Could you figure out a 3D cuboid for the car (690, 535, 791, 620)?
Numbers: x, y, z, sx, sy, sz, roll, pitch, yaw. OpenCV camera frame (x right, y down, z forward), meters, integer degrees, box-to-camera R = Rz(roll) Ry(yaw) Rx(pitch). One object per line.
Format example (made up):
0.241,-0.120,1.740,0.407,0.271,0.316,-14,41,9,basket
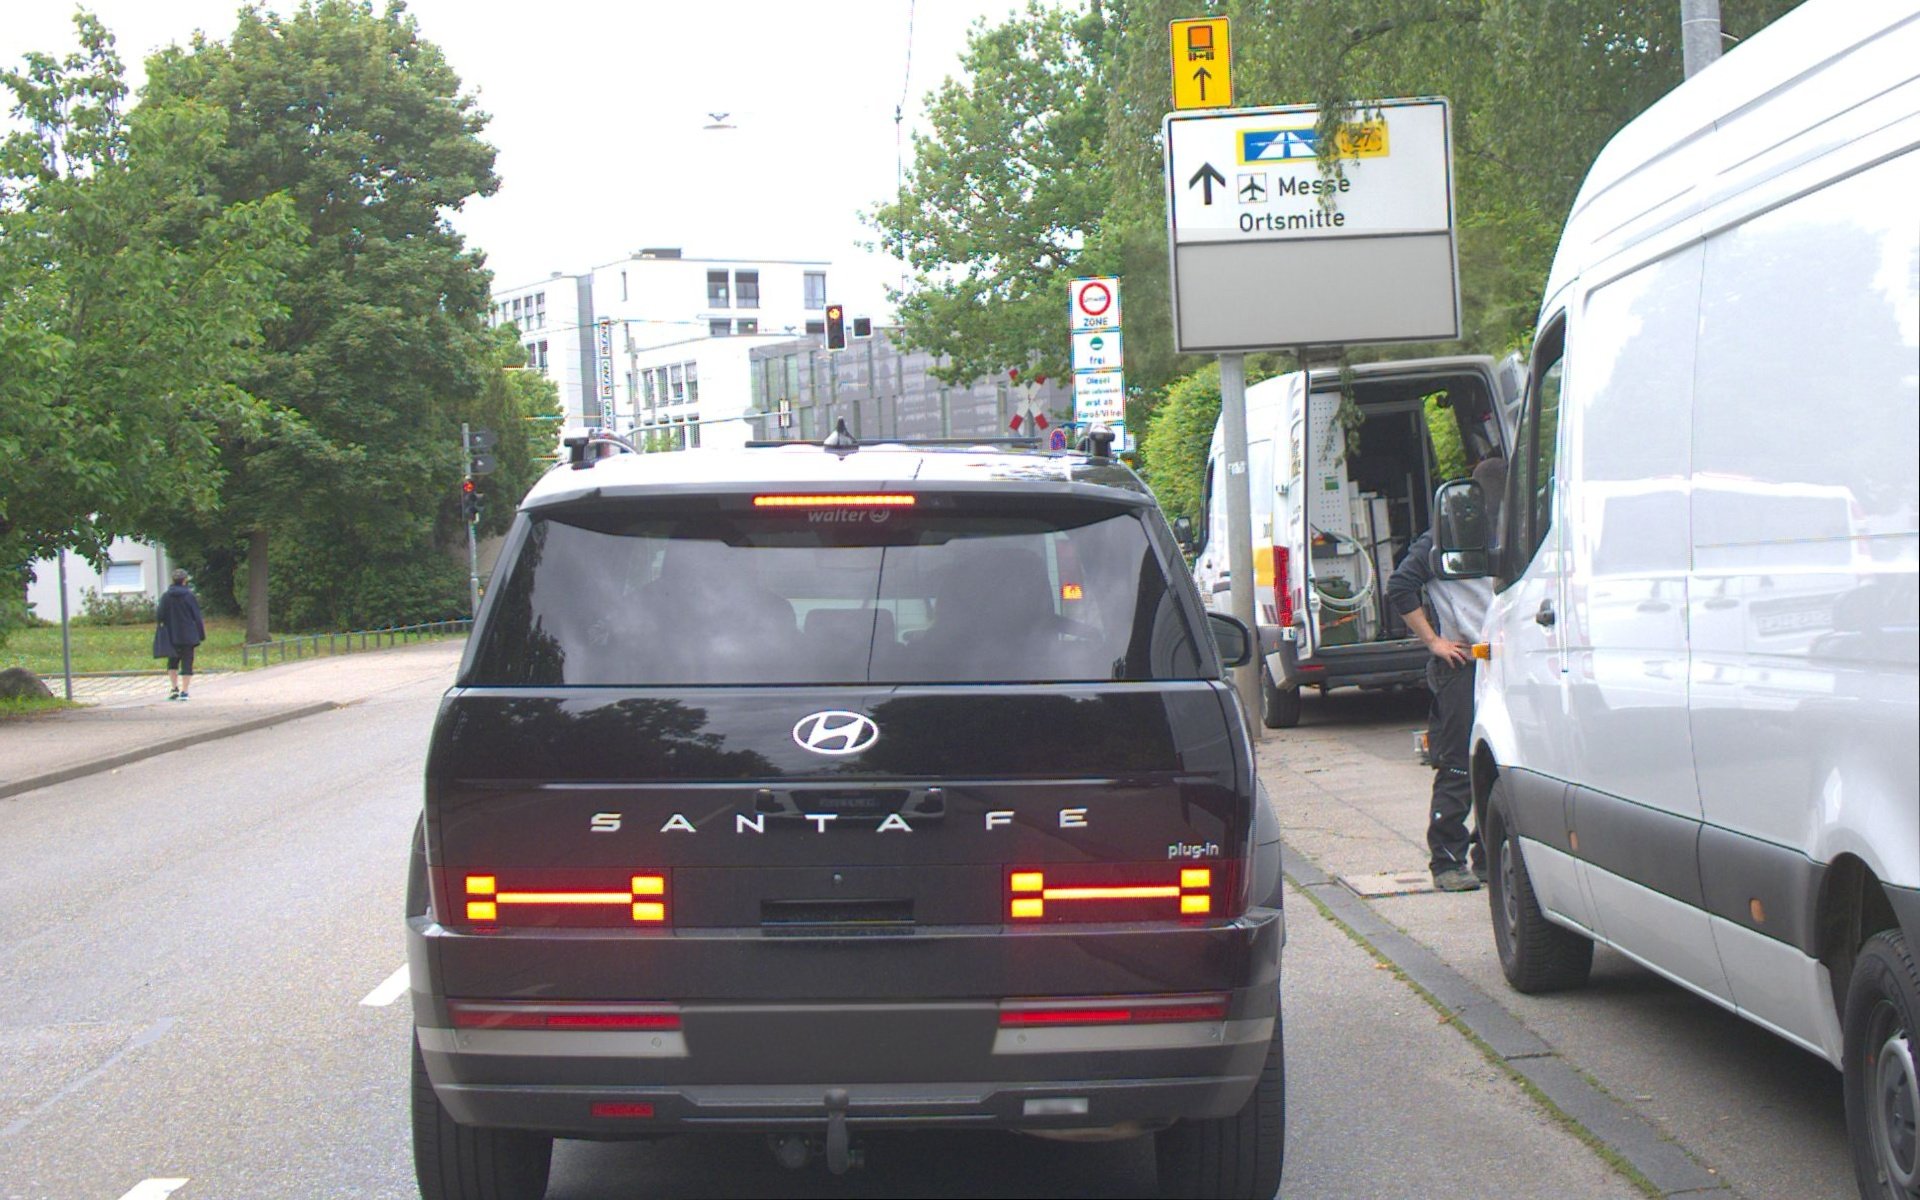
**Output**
-4.751,-0.515,74.885,1.859,1.651,4.306,-4,1,-1,car

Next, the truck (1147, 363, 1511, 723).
2.873,-0.445,28.050,1.942,2.553,5.217,-4,1,-4,truck

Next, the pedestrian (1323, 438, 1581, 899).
1.982,0.264,13.945,0.870,1.791,0.760,-2,1,-1,pedestrian

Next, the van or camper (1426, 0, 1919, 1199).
2.620,-0.092,8.141,1.993,2.611,6.541,-2,1,-1,van or camper

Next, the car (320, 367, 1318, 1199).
-0.288,0.433,8.553,1.889,1.813,4.000,0,1,-1,car

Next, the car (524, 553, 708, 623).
-8.967,-0.308,89.495,4.704,1.742,2.000,1,0,-7,car

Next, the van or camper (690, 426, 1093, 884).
-0.330,0.215,17.496,1.754,2.007,4.000,-2,1,-1,van or camper

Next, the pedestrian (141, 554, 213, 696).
-9.645,0.299,42.381,0.738,1.709,0.793,-2,1,-7,pedestrian
